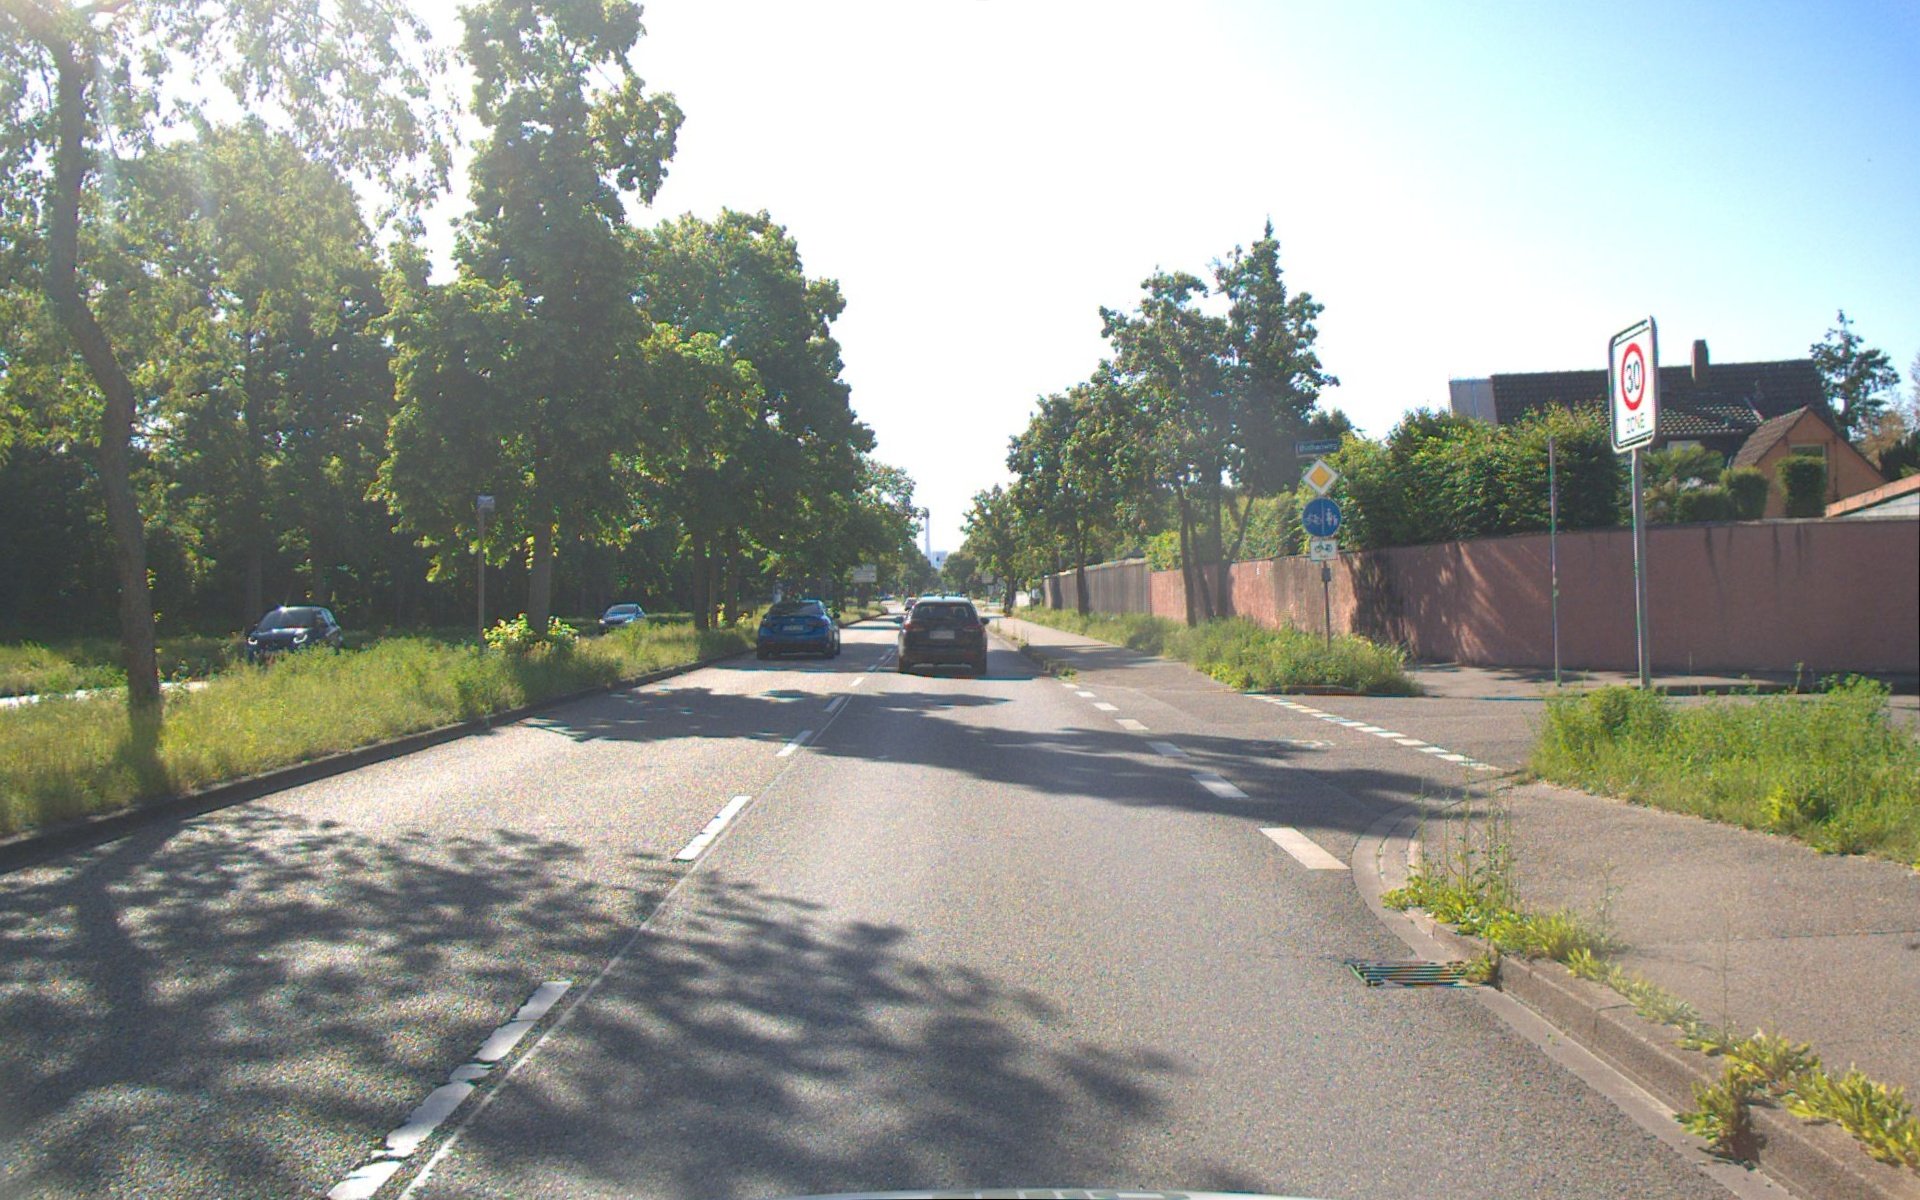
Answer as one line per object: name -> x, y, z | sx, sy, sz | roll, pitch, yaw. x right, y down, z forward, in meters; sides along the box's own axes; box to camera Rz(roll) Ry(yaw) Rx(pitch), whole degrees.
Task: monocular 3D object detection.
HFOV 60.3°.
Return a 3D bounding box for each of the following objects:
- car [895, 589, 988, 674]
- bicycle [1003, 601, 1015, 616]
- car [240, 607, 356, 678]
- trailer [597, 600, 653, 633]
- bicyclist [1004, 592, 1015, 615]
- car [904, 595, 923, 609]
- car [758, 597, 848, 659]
car -> -0.338, 0.595, 33.190 | 1.724, 1.586, 4.000 | 1, 0, 0
bicycle -> 3.056, 0.510, 102.734 | 0.642, 0.908, 1.874 | -1, 0, -1
car -> -16.234, 1.011, 40.692 | 1.681, 1.531, 3.014 | -3, 1, -3
trailer -> -16.063, 0.757, 79.425 | 1.705, 1.449, 4.496 | -3, 0, 0
bicyclist -> 3.074, 0.227, 102.700 | 0.666, 1.443, 0.812 | -1, 0, -1
car -> -5.250, 0.264, 186.765 | 1.939, 1.465, 3.997 | -1, 1, -4
car -> -3.860, 0.650, 41.254 | 1.954, 1.429, 3.999 | -1, 0, -1
